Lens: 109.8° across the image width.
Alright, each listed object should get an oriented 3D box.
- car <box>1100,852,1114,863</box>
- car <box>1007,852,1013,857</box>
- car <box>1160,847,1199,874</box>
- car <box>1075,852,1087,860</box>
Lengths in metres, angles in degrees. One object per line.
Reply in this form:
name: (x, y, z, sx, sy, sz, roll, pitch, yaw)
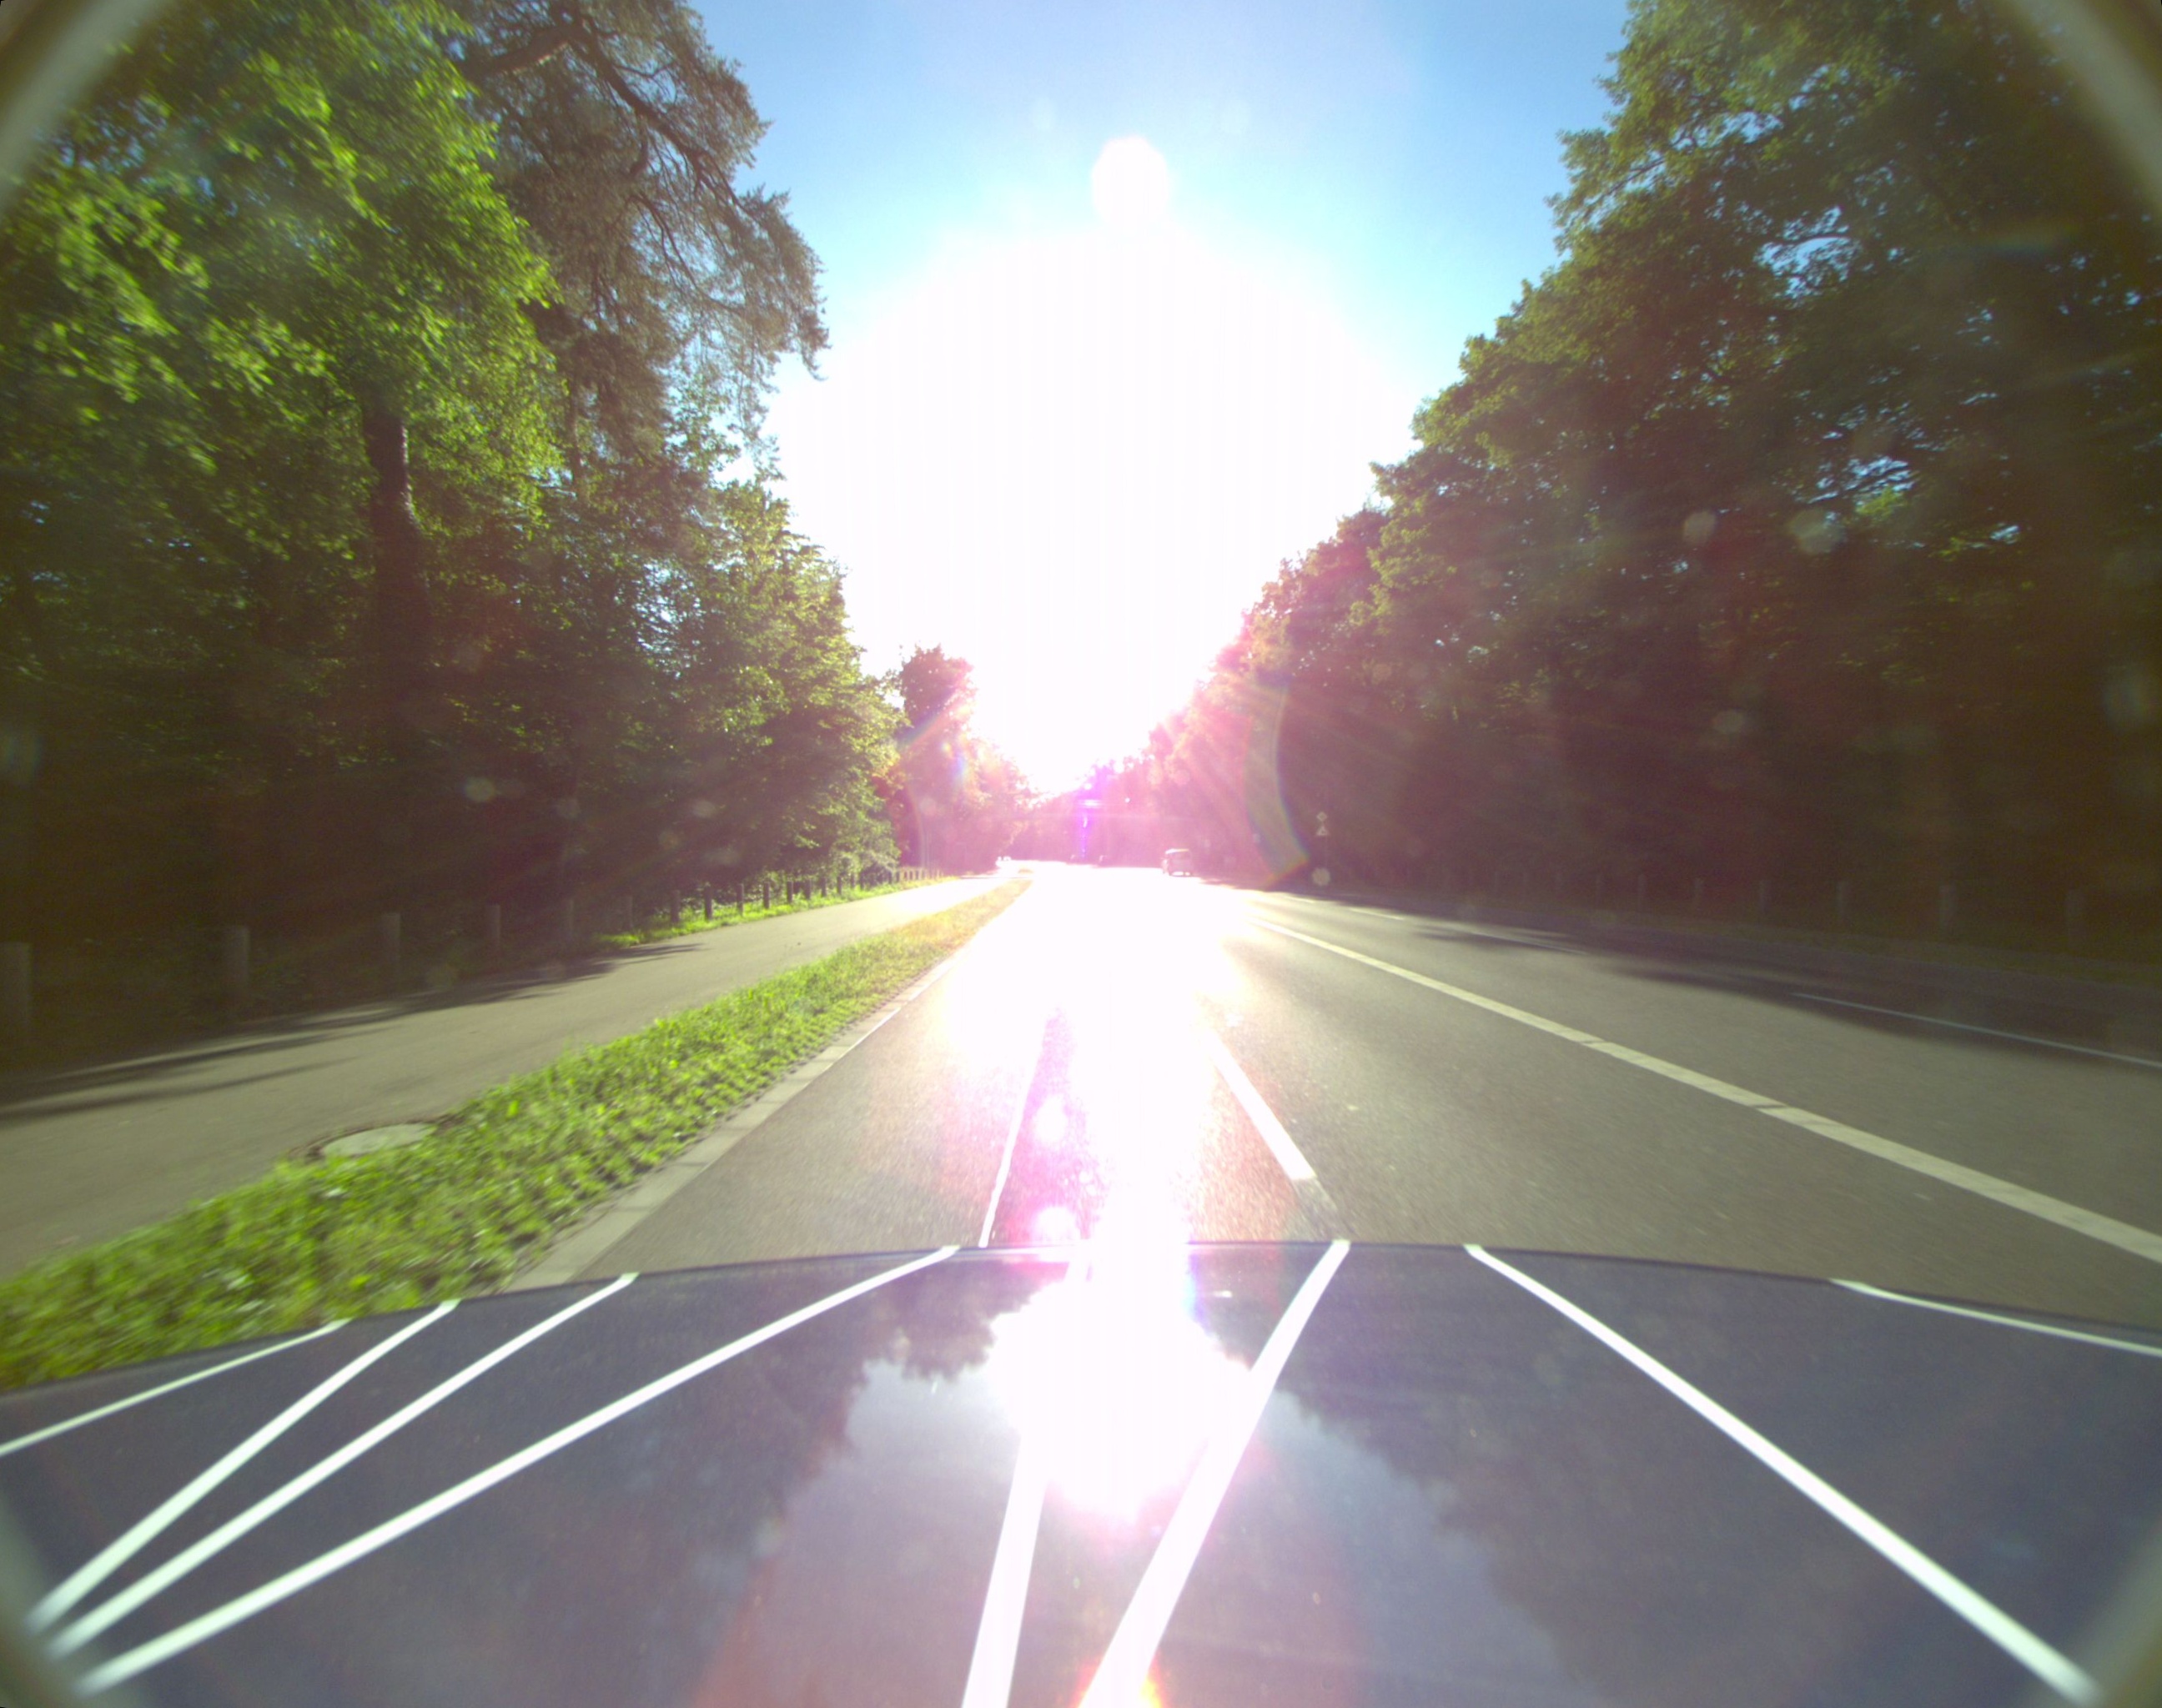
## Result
car: (3.730, 0.543, 108.387, 1.517, 1.457, 4.312, -3, 0, -4)
car: (-22.899, 0.069, 244.833, 1.828, 1.674, 3.996, -1, 0, -10)
car: (7.188, 0.435, 55.931, 2.006, 1.815, 4.998, -3, 0, -2)
car: (0.021, 0.447, 150.652, 1.847, 1.539, 3.997, -1, 0, -7)
